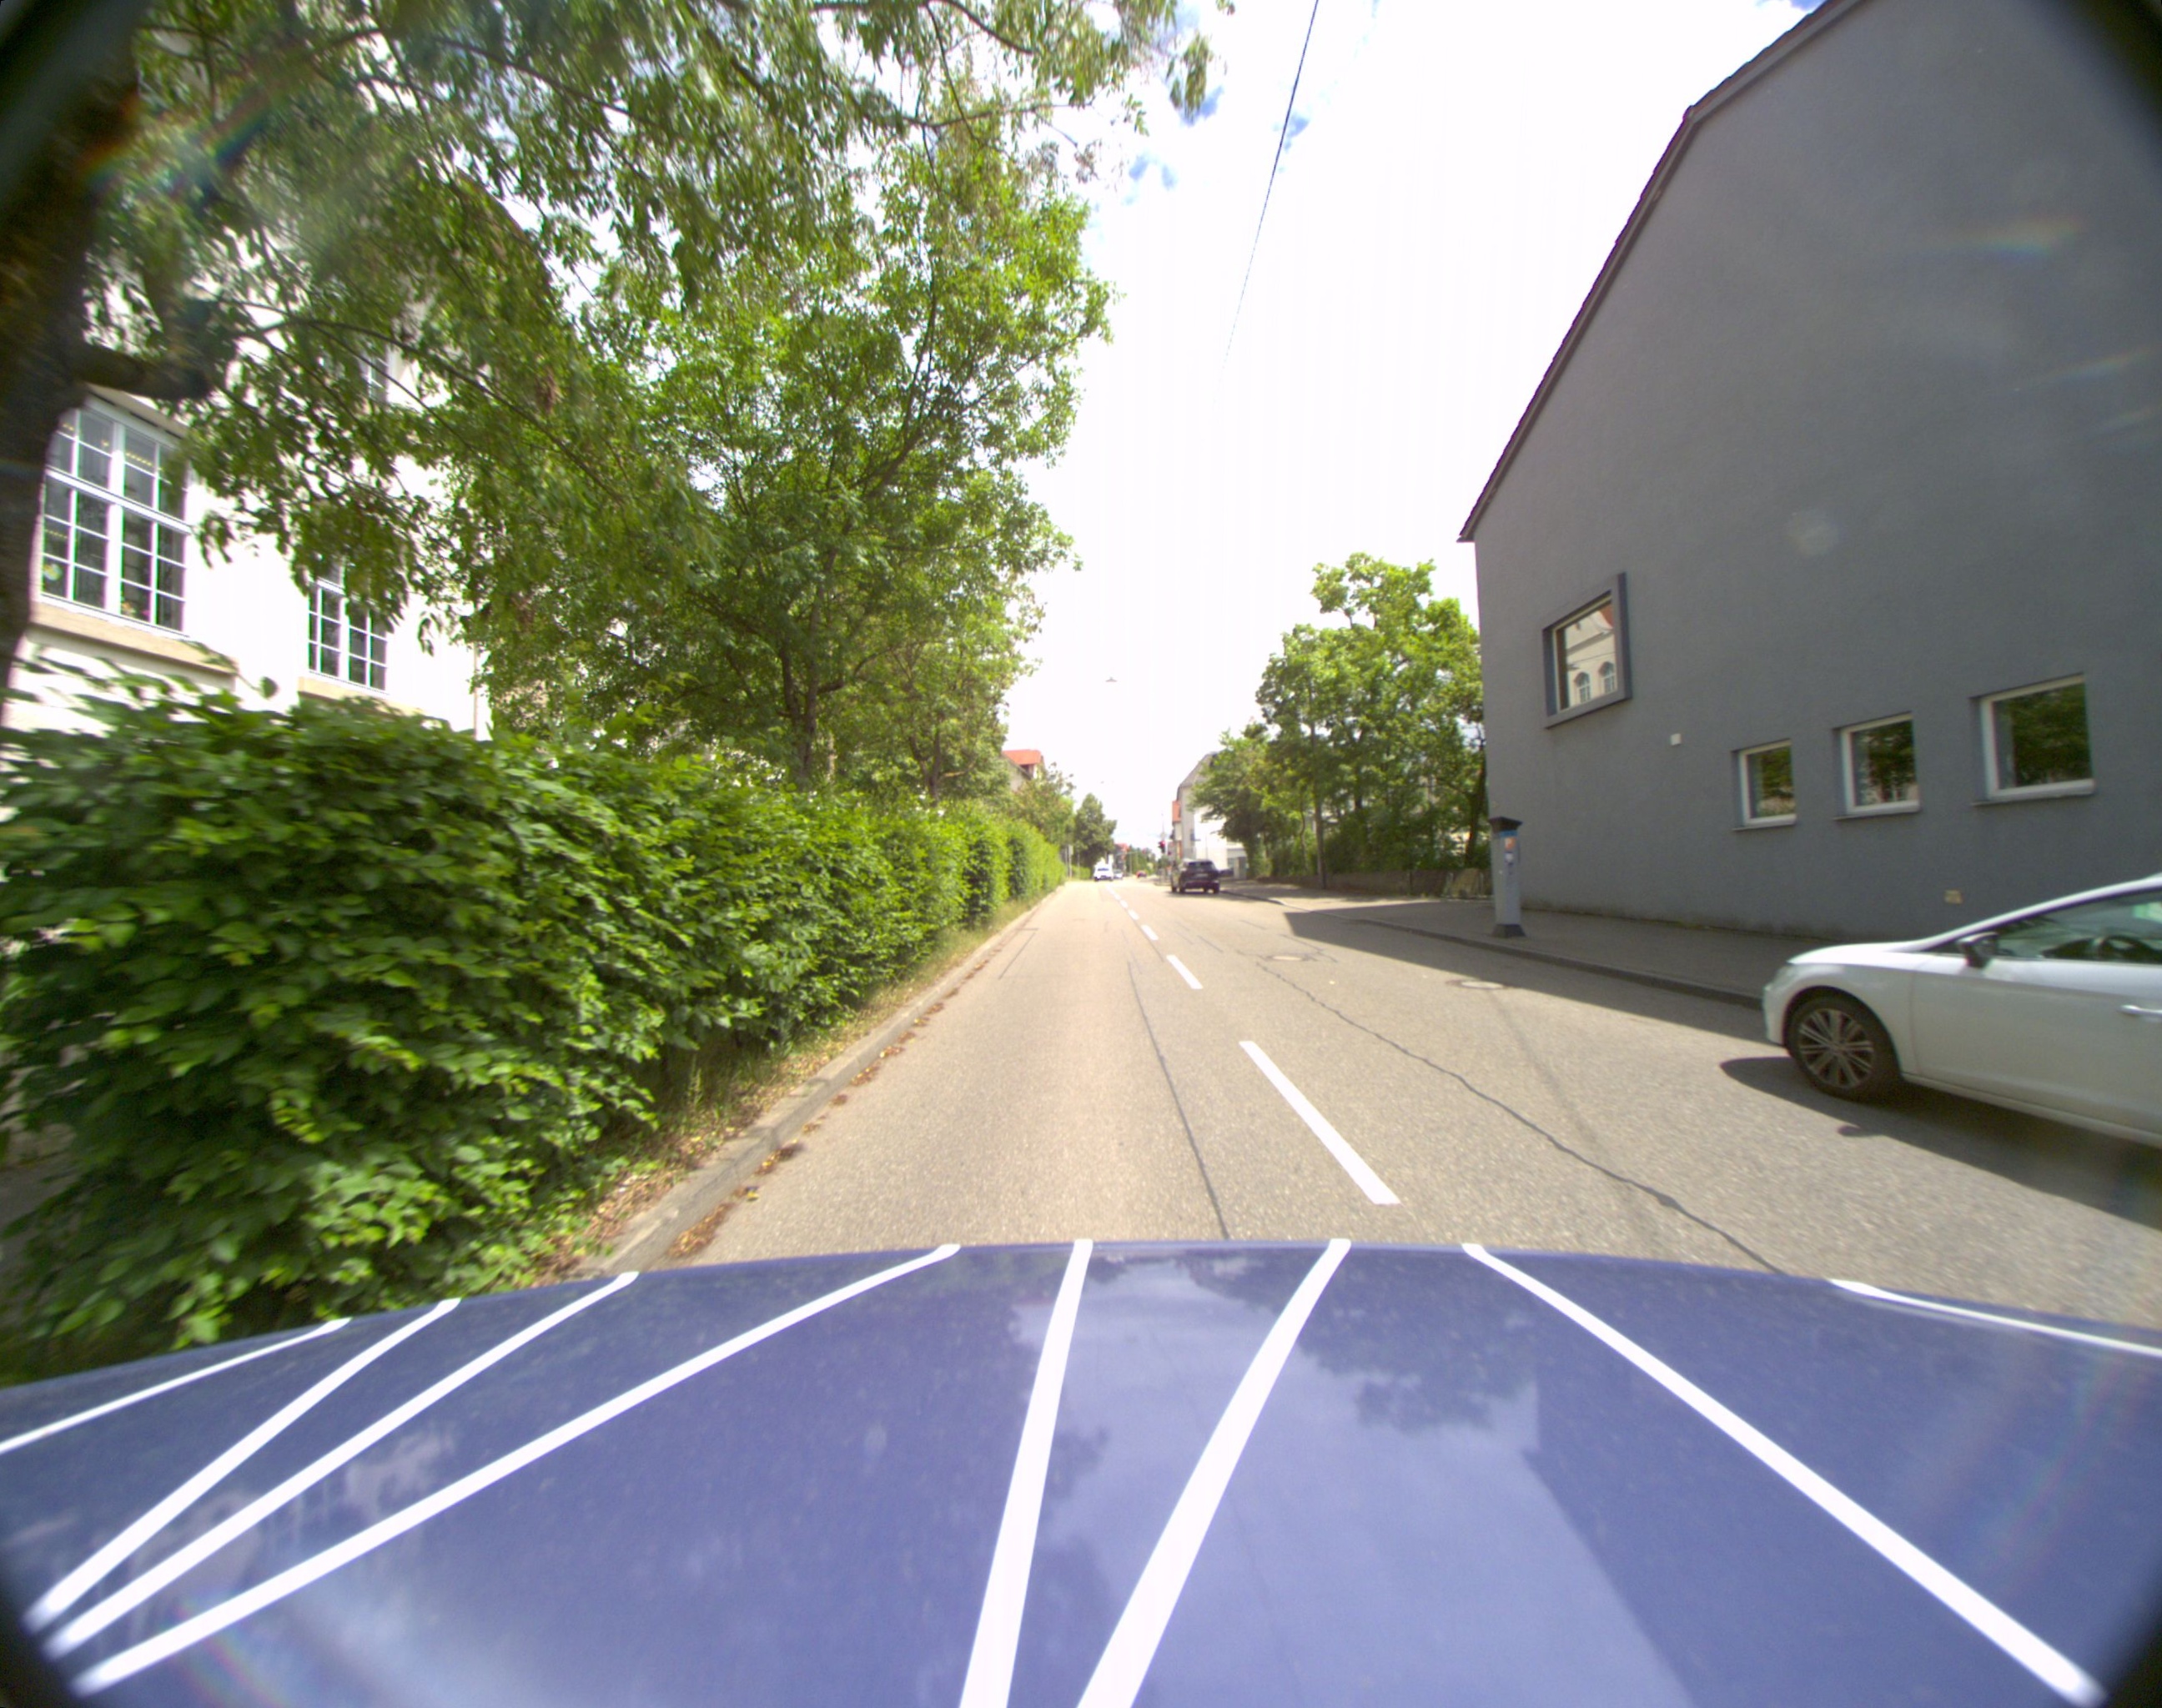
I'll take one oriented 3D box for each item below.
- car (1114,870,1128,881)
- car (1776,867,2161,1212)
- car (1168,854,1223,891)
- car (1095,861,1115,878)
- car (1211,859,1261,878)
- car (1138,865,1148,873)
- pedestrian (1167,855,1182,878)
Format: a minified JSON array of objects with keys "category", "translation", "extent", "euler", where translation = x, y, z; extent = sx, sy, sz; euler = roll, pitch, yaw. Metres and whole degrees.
[{"category":"car","translation":[5.988,3.216,114.331],"extent":[1.794,1.476,4.003],"euler":[-3,-2,6]},{"category":"car","translation":[5.281,0.752,2.903],"extent":[1.701,1.382,3.867],"euler":[-2,-2,1]},{"category":"car","translation":[5.395,0.862,36.341],"extent":[1.800,1.600,4.646],"euler":[-2,-1,-1]},{"category":"car","translation":[2.605,1.682,81.631],"extent":[1.893,1.717,4.295],"euler":[-2,-1,4]},{"category":"car","translation":[13.667,1.276,67.290],"extent":[3.997,1.467,1.859],"euler":[-2,-3,1]},{"category":"car","translation":[13.136,3.112,160.238],"extent":[1.794,1.476,4.003],"euler":[-3,-2,6]},{"category":"pedestrian","translation":[6.779,0.910,55.130],"extent":[0.774,1.587,0.670],"euler":[-2,-1,-35]}]
